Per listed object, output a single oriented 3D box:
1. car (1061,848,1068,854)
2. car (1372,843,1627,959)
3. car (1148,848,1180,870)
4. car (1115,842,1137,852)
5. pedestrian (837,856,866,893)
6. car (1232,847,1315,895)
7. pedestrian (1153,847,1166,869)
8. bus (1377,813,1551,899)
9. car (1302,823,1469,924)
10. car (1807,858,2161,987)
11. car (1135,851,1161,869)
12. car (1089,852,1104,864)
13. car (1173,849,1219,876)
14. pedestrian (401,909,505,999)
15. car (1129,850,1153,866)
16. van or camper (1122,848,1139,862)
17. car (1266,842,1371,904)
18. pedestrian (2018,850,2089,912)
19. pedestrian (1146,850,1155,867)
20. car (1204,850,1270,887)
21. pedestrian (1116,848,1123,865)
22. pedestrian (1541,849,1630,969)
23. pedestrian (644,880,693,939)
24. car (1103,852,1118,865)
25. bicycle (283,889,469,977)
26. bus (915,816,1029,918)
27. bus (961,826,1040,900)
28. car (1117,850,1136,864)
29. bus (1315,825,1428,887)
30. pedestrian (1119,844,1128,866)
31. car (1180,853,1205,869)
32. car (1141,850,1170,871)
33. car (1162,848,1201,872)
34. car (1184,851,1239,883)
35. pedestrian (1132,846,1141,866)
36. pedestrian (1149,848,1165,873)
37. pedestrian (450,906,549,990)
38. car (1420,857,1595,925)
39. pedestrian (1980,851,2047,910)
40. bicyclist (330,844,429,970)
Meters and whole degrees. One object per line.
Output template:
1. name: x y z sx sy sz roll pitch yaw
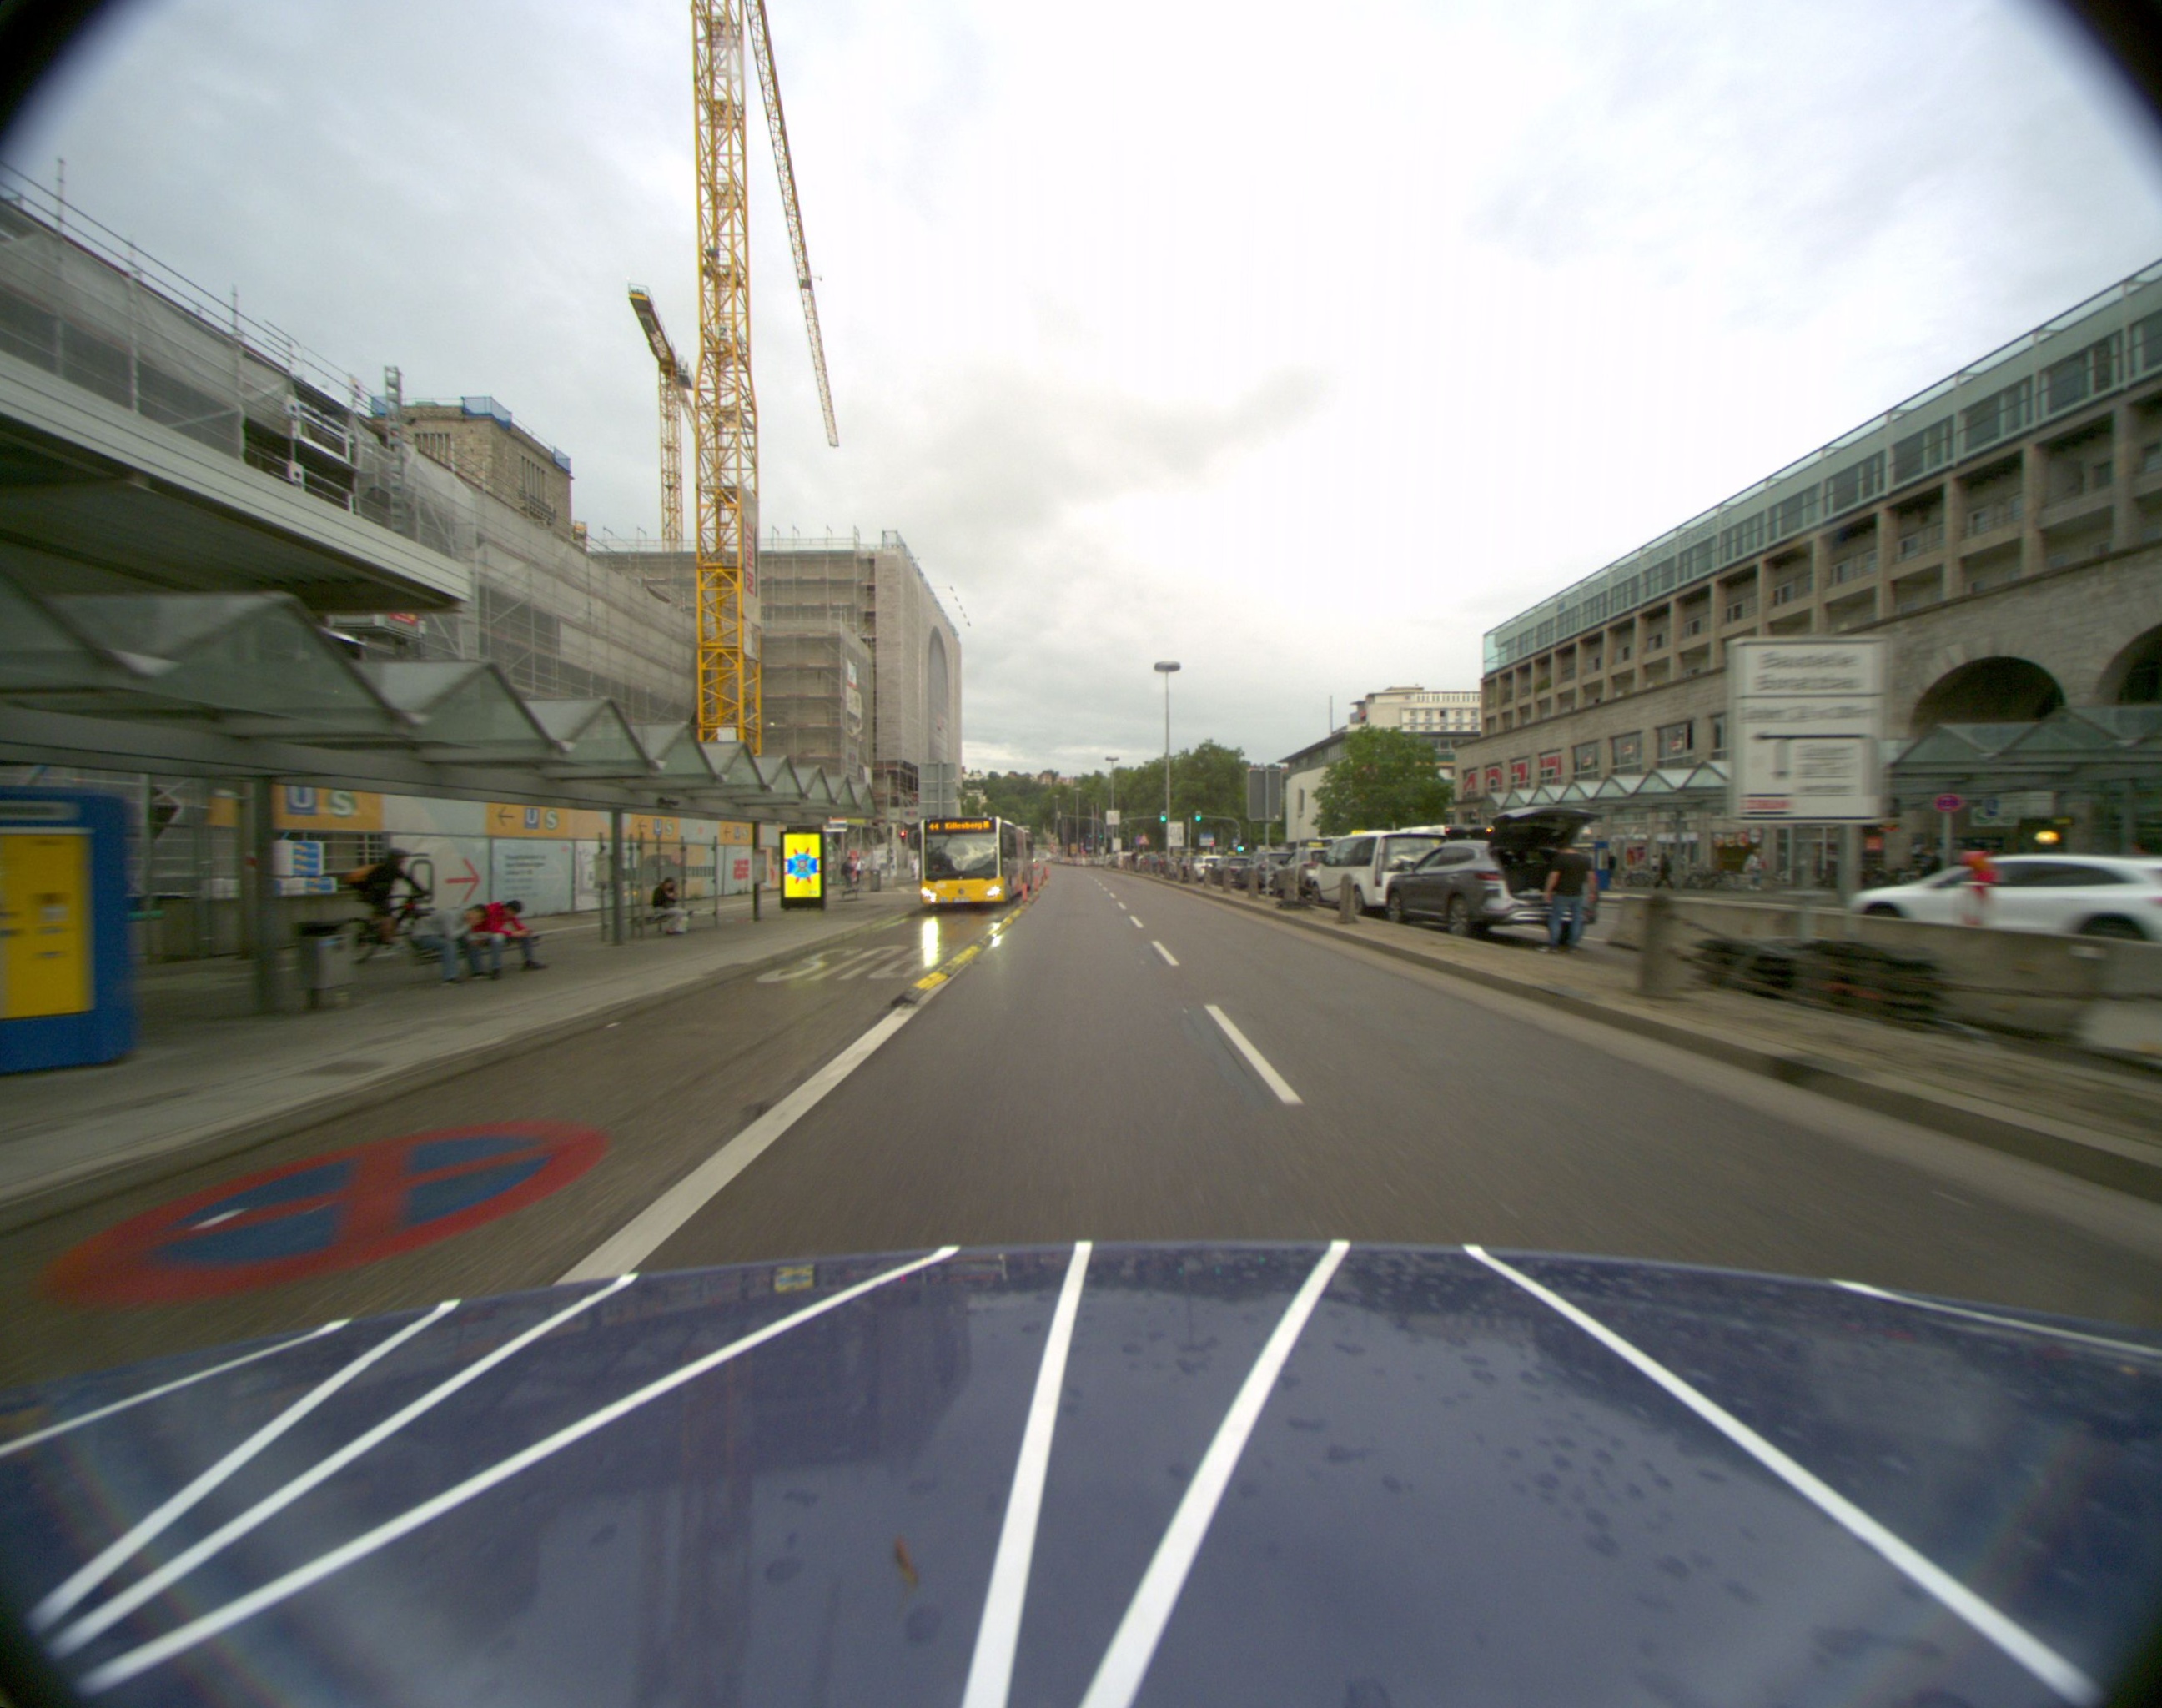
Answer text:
1. car: -4.529 -0.868 207.642 1.682 1.533 3.174 0 -1 -1
2. car: 7.085 0.699 13.597 1.998 1.712 4.782 0 0 1
3. car: 6.509 0.366 60.070 1.935 1.680 4.681 1 0 -1
4. car: 9.804 -1.538 166.256 4.830 2.001 2.036 -2 -1 1
5. pedestrian: -10.291 0.909 34.068 0.907 1.625 0.829 -1 1 27
6. car: 7.446 0.615 29.864 1.935 1.689 4.884 1 0 -1
7. pedestrian: 5.695 0.292 55.196 0.724 1.597 0.996 -2 0 -1
8. bus: 17.516 0.071 35.942 2.885 3.439 10.573 -1 0 0
9. car: 7.300 0.421 18.960 1.998 2.166 5.544 0 0 1
10. car: 14.021 0.874 11.206 1.967 1.555 4.835 2 0 0
11. car: 6.309 0.559 72.313 1.935 1.680 4.681 1 0 -1
12. car: 2.417 0.636 117.614 1.999 1.806 4.810 0 -1 -3
13. car: 7.178 0.511 47.885 1.935 1.567 5.011 1 0 -2
14. pedestrian: -7.995 1.260 9.709 0.729 1.059 0.709 0 0 0
15. car: 6.101 0.444 78.295 2.020 1.611 4.842 0 0 -1
16. van or camper: 9.253 0.232 141.820 2.000 2.499 5.366 2 0 -8
17. car: 7.493 0.544 24.460 1.934 1.796 4.582 1 0 0
18. pedestrian: 26.550 0.727 20.764 0.758 1.645 0.894 -2 0 2
19. pedestrian: 7.307 0.515 79.762 0.784 1.765 0.606 2 0 -13
20. car: 7.266 0.630 35.853 1.935 1.567 5.051 1 0 -2
21. pedestrian: 3.973 0.265 78.511 0.653 1.701 0.593 -2 0 -2
22. pedestrian: 7.150 0.752 10.807 0.762 1.643 0.763 0 0 0
23. pedestrian: -8.588 1.144 15.837 0.666 1.180 0.666 0 0 0
24. car: 4.523 0.697 117.565 1.920 1.840 4.564 0 0 -4
25. bicycle: -11.332 1.220 12.372 0.817 1.191 2.405 0 0 -2
26. bus: -3.623 0.368 27.638 2.762 3.048 8.992 -2 0 0
27. bus: -3.646 0.340 36.695 2.762 3.051 9.079 -2 0 0
28. car: 5.800 0.413 98.213 1.908 1.689 4.499 -2 0 -3
29. bus: 17.415 0.126 46.571 2.885 3.356 10.573 0 0 0
30. pedestrian: 3.852 0.122 69.640 0.725 1.996 0.772 -2 0 -1
31. car: 11.956 0.733 81.885 1.935 1.680 4.681 1 0 -1
32. car: 6.464 0.532 65.995 1.935 1.680 4.681 1 0 -1
33. car: 7.106 0.387 54.383 1.935 1.567 5.260 1 0 -1
34. car: 7.090 0.663 41.734 1.981 1.649 5.191 1 0 -2
35. pedestrian: 4.996 0.200 68.671 0.700 1.744 0.711 -1 0 -1
36. pedestrian: 5.385 0.453 53.831 1.053 1.758 0.616 -1 1 -1
37. pedestrian: -7.983 1.270 10.461 0.729 1.059 0.808 0 0 0
38. car: 11.263 0.901 20.566 1.967 1.555 4.835 2 0 0
39. pedestrian: 26.567 0.747 21.663 0.758 1.645 0.894 -2 0 2
40. bicyclist: -11.336 0.827 12.309 0.825 1.970 0.818 0 0 -2
